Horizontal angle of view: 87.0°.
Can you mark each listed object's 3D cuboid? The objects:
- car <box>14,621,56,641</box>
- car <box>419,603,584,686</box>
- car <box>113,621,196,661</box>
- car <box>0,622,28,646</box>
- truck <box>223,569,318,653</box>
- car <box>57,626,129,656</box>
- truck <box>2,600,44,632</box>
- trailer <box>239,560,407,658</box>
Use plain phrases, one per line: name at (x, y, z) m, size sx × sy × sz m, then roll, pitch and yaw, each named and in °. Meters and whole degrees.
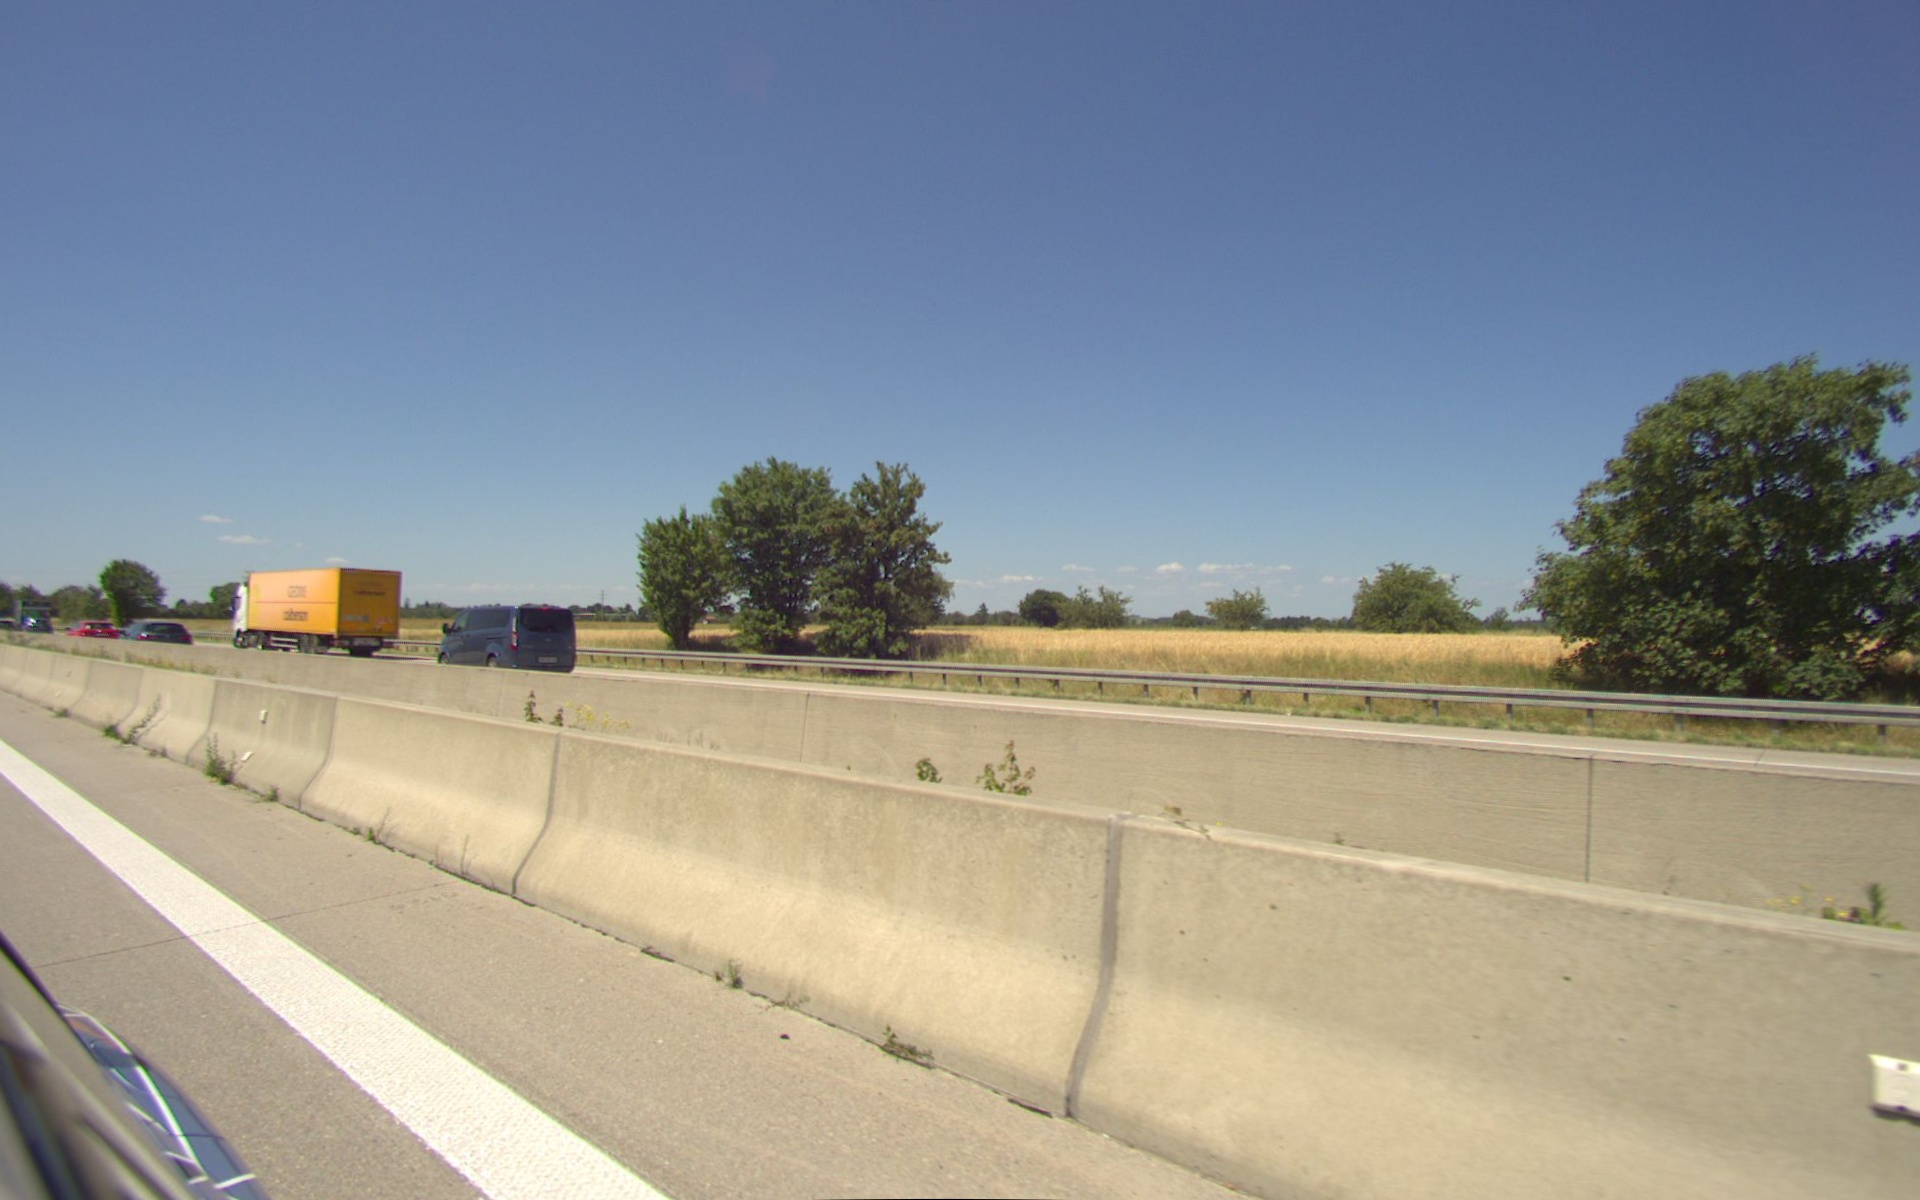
car at (-76.812, 2.558, 84.022) m, size 4.510 × 1.572 × 1.973 m, roll -1°, pitch -4°, yaw 41°
car at (-12.402, 1.148, 27.191) m, size 5.514 × 2.015 × 1.911 m, roll -2°, pitch -1°, yaw 41°
car at (-29.443, 1.464, 36.949) m, size 3.998 × 1.342 × 1.672 m, roll -1°, pitch -1°, yaw 41°
car at (-63.333, 2.234, 66.902) m, size 4.708 × 1.496 × 1.973 m, roll -1°, pitch -3°, yaw 41°
truck at (-36.815, 0.657, 53.976) m, size 5.227 × 4.228 × 2.838 m, roll -1°, pitch -3°, yaw 41°
car at (-42.697, 2.003, 49.813) m, size 4.714 × 1.405 × 1.973 m, roll -1°, pitch -3°, yaw 41°
truck at (-105.312, 1.840, 113.758) m, size 7.880 × 3.539 × 2.528 m, roll -1°, pitch -3°, yaw 41°
trailer at (-31.190, 0.534, 49.077) m, size 14.133 × 4.230 × 2.843 m, roll -1°, pitch -3°, yaw 41°
